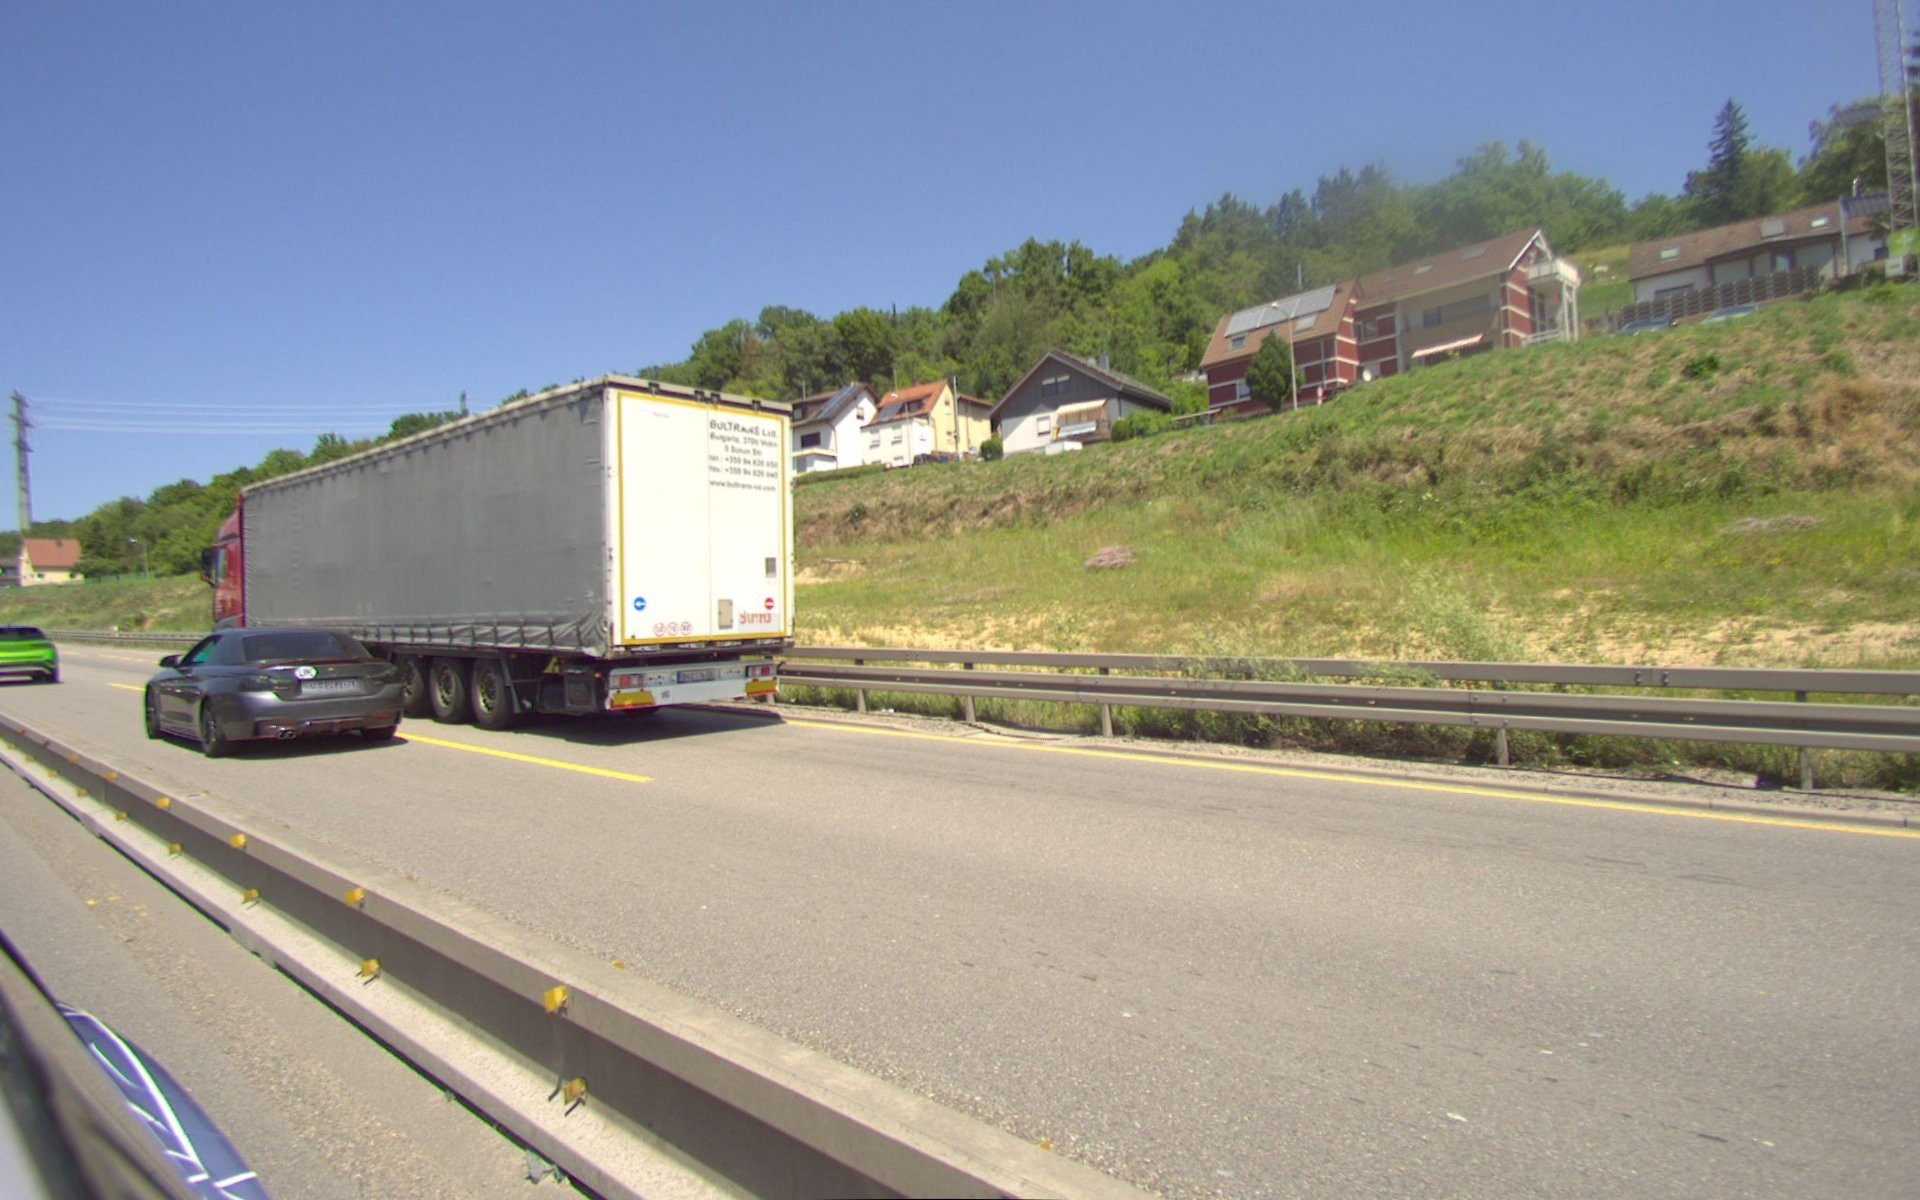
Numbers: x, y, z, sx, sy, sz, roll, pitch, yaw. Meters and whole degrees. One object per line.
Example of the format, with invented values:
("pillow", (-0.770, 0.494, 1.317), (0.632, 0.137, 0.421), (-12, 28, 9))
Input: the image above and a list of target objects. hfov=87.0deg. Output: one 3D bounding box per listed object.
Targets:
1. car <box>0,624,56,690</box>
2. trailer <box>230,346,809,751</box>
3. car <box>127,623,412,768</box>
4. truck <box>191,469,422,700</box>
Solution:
("car", (-24.248, 1.425, 25.459), (3.998, 1.519, 1.736), (-2, 1, 41))
("trailer", (-7.882, -0.395, 15.886), (13.430, 4.155, 2.827), (-2, -1, 41))
("car", (-8.320, 0.990, 12.030), (4.409, 1.373, 1.749), (-1, -1, 41))
("truck", (-13.486, -0.248, 20.794), (4.596, 4.155, 2.792), (-2, -1, 41))
